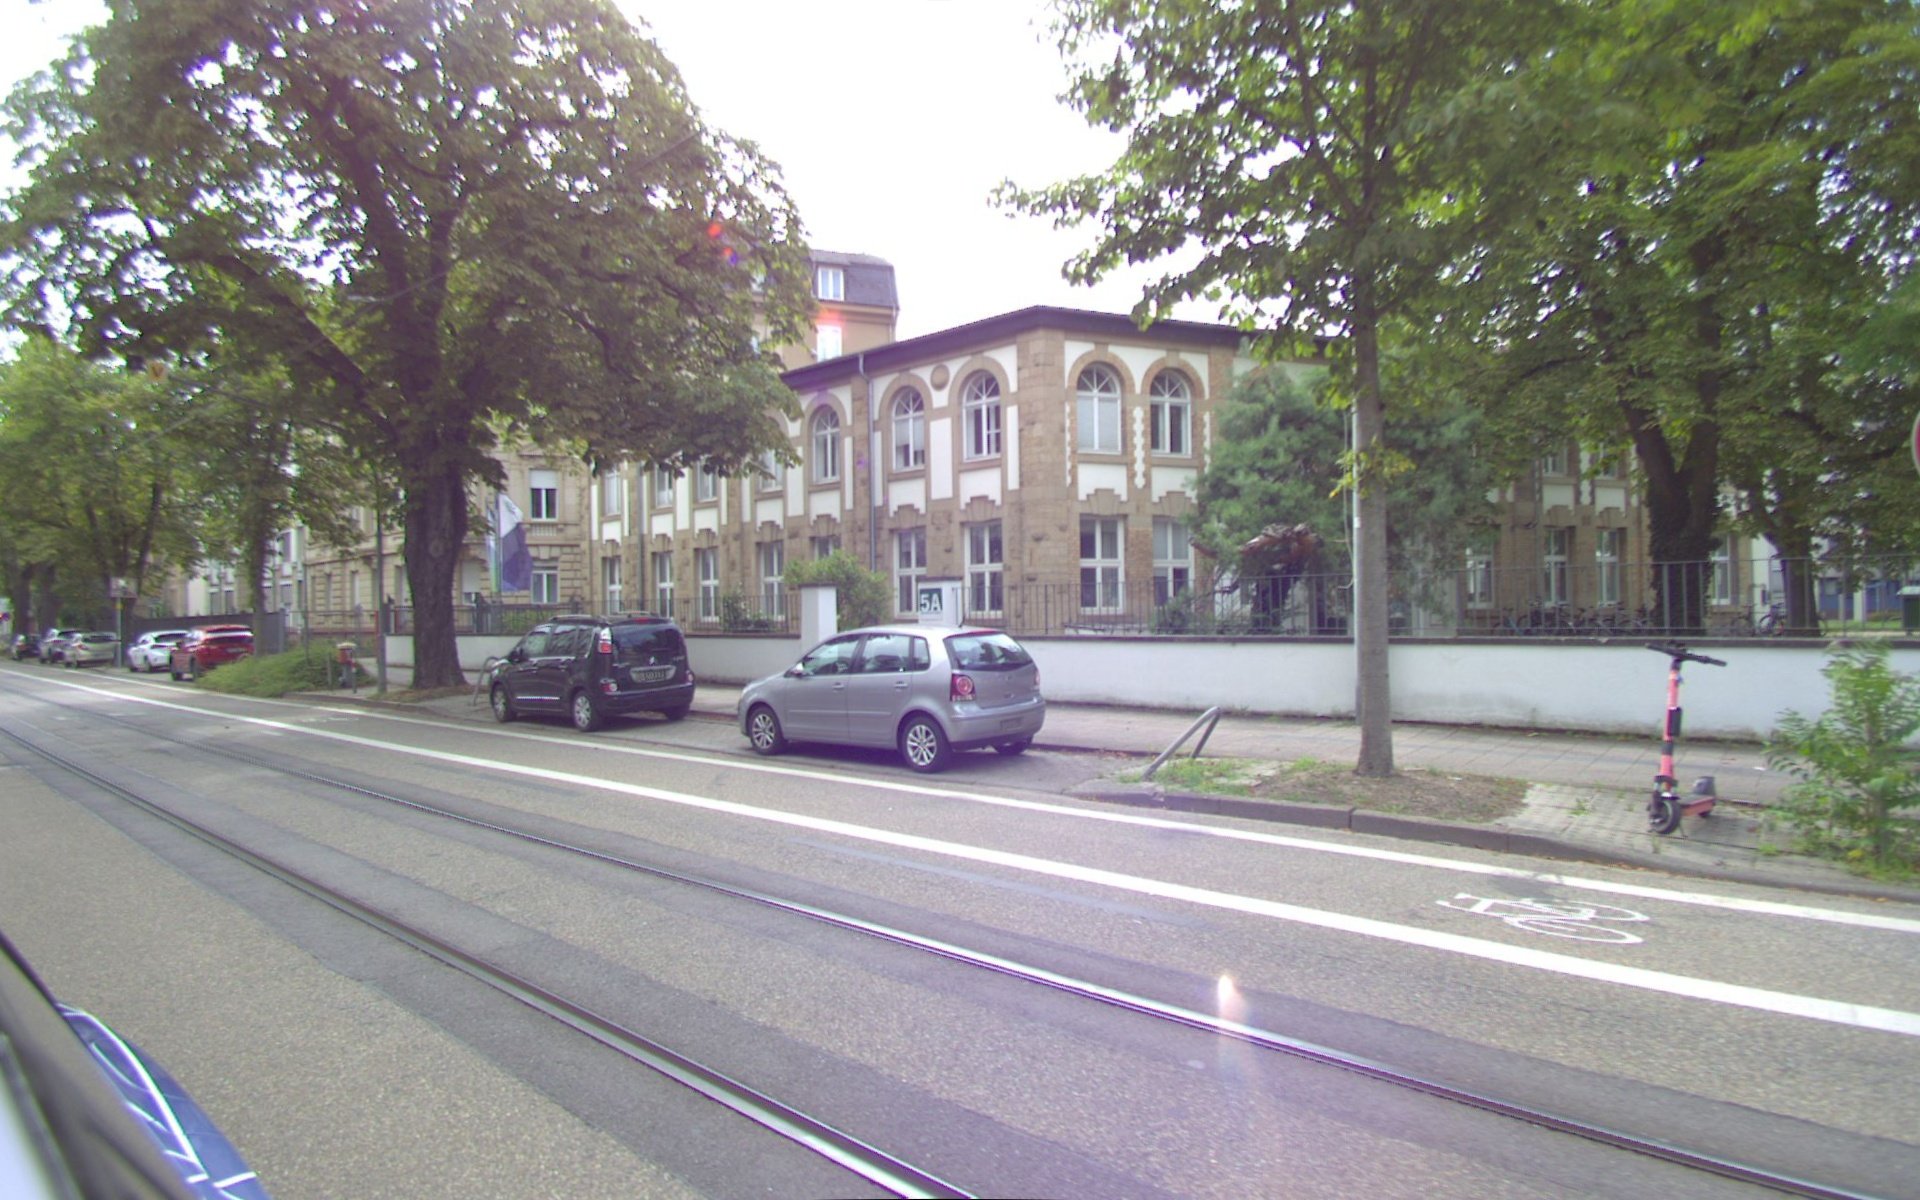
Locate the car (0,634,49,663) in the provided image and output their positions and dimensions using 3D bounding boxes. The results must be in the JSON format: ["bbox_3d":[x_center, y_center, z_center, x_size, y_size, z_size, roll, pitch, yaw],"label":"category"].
[{"bbox_3d":[-51.849,2.665,56.035,4.165,1.435,1.702,-2,1,43],"label":"car"}]

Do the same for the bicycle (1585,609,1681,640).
[{"bbox_3d":[18.153,0.650,27.358,0.702,0.779,2.053,-2,0,-29],"label":"bicycle"}]

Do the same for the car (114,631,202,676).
[{"bbox_3d":[-29.187,1.905,36.799,4.020,1.434,1.704,-2,1,40],"label":"car"}]

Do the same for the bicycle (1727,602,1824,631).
[{"bbox_3d":[23.659,0.477,29.408,0.702,0.779,2.053,-2,0,-29],"label":"bicycle"}]

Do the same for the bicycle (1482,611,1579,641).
[{"bbox_3d":[14.418,0.660,25.649,0.702,0.713,2.053,-2,0,-29],"label":"bicycle"}]

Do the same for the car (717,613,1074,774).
[{"bbox_3d":[-0.824,0.922,11.244,3.865,1.438,1.676,-2,0,40],"label":"car"}]

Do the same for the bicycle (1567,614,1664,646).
[{"bbox_3d":[17.353,0.789,26.855,0.702,0.779,2.053,-2,0,-29],"label":"bicycle"}]

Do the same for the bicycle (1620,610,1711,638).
[{"bbox_3d":[19.657,0.668,28.253,2.041,0.713,0.706,-2,0,34],"label":"bicycle"}]

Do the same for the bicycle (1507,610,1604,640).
[{"bbox_3d":[15.282,0.633,26.020,0.702,0.713,2.053,-2,0,-29],"label":"bicycle"}]

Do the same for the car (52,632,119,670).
[{"bbox_3d":[-37.277,2.146,43.101,4.076,1.479,1.584,-2,-1,41],"label":"car"}]

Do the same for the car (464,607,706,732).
[{"bbox_3d":[-5.894,0.993,15.684,4.049,1.659,1.738,-2,0,40],"label":"car"}]

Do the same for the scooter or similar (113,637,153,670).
[{"bbox_3d":[-31.707,2.057,38.784,1.312,1.232,0.559,-2,-1,18],"label":"scooter or similar"}]

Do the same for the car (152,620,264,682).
[{"bbox_3d":[-22.949,1.529,30.827,4.538,1.667,1.704,-2,1,40],"label":"car"}]

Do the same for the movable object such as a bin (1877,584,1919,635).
[{"bbox_3d":[26.521,0.255,28.254,0.954,1.385,1.024,-2,0,-23],"label":"movable object such as a bin"}]

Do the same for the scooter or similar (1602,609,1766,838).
[{"bbox_3d":[4.865,0.755,6.772,0.700,1.354,1.428,-2,-3,42],"label":"scooter or similar"}]

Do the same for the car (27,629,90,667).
[{"bbox_3d":[-42.981,2.249,48.236,4.354,1.686,1.693,-2,-1,41],"label":"car"}]
